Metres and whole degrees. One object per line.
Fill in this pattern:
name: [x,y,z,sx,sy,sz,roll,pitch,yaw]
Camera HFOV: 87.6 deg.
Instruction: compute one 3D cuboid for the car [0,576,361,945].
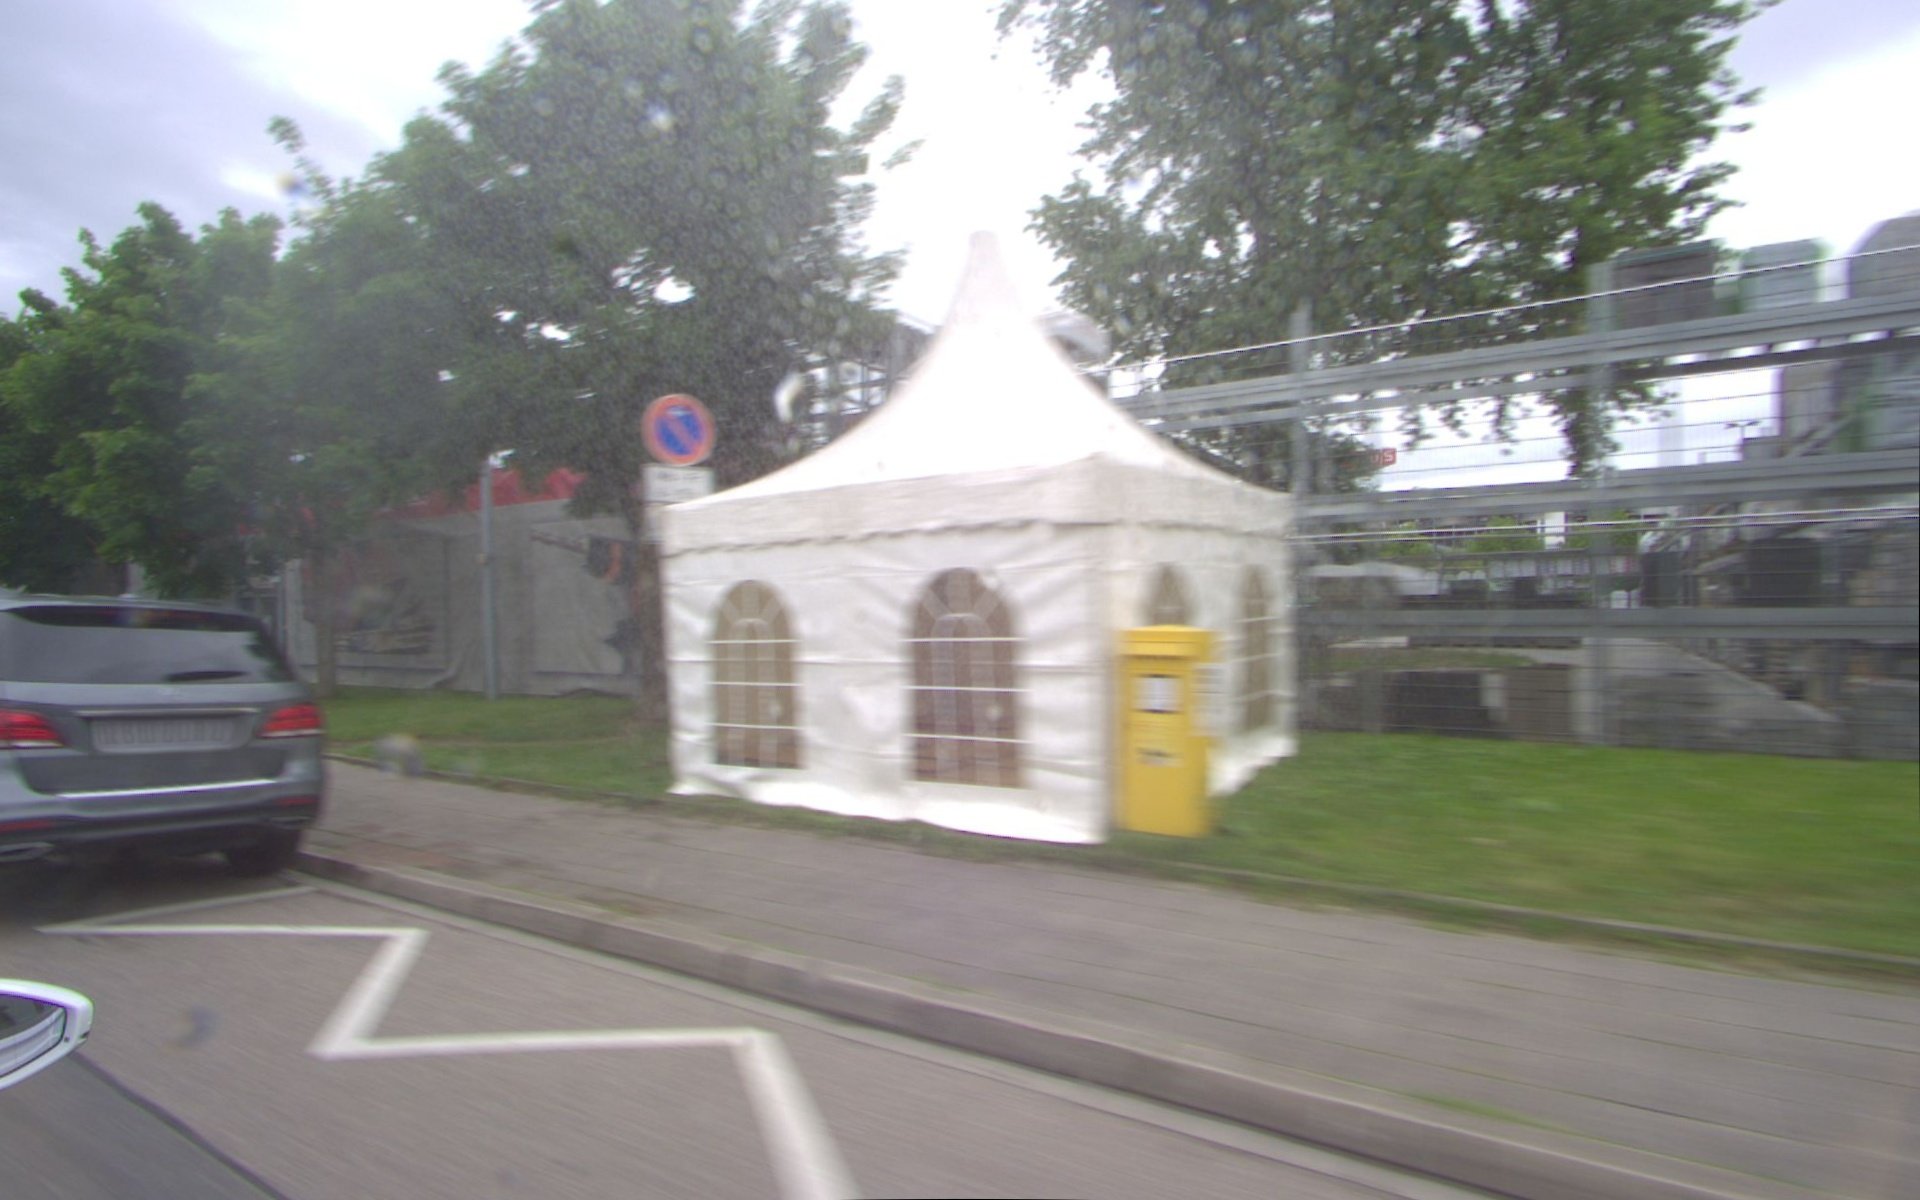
car: [-6.058,0.843,6.580,4.418,1.762,1.905,-1,-3,34]
